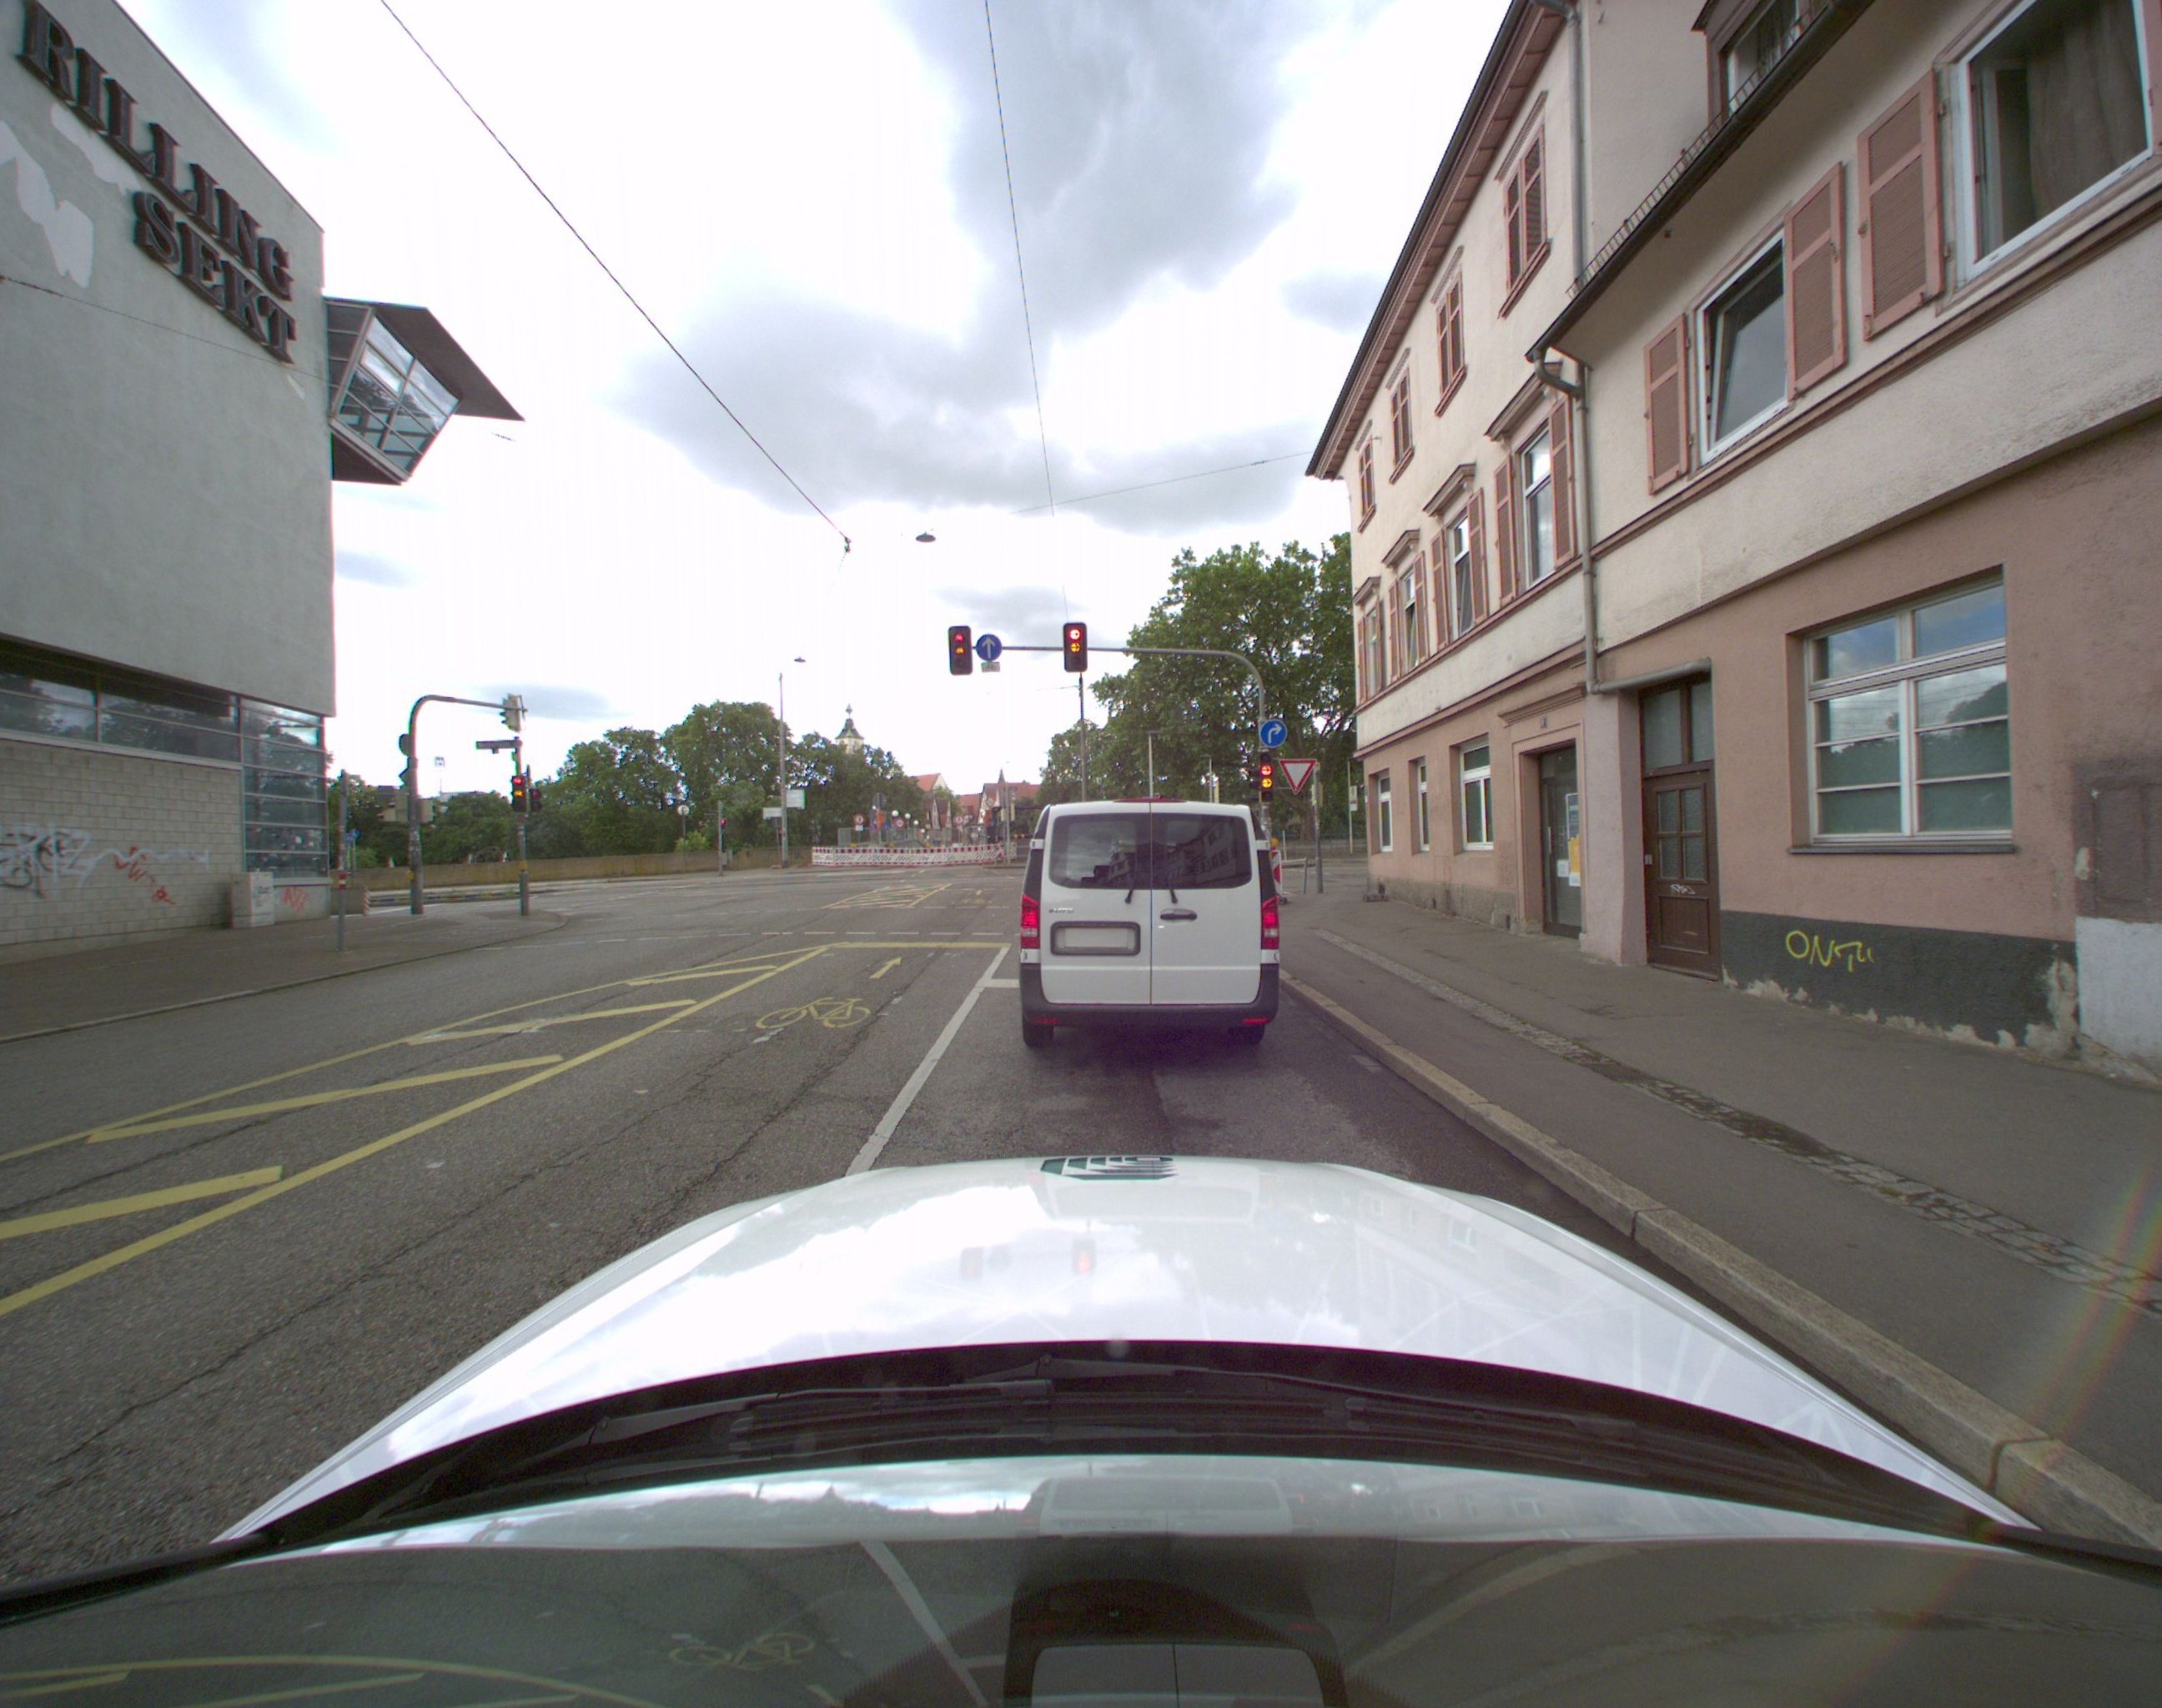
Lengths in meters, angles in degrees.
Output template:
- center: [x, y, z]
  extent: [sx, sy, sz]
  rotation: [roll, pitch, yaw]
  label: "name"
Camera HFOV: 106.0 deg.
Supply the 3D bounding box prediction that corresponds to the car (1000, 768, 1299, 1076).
- center: [0.525, 0.394, 7.692]
  extent: [1.943, 2.013, 4.700]
  rotation: [0, 1, 2]
  label: "car"
